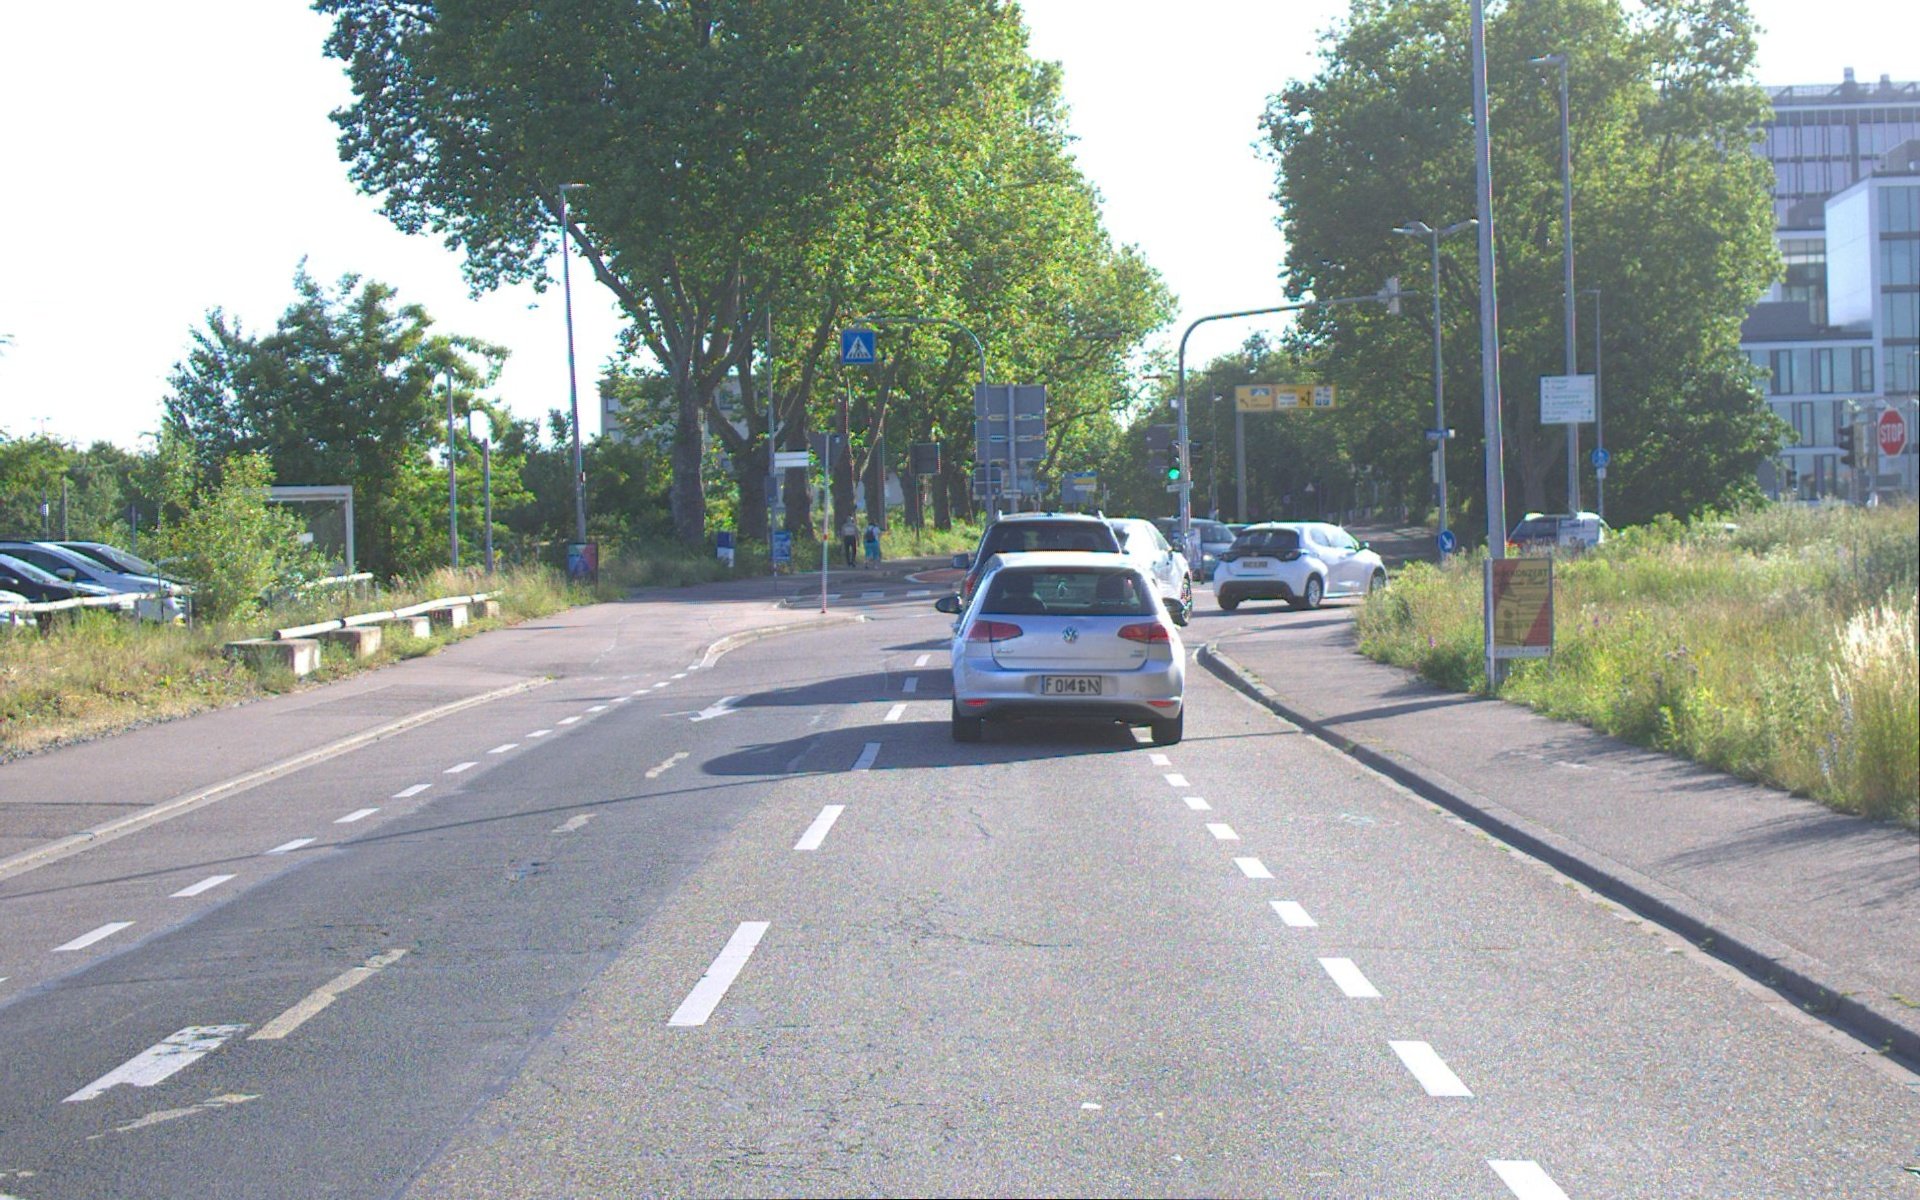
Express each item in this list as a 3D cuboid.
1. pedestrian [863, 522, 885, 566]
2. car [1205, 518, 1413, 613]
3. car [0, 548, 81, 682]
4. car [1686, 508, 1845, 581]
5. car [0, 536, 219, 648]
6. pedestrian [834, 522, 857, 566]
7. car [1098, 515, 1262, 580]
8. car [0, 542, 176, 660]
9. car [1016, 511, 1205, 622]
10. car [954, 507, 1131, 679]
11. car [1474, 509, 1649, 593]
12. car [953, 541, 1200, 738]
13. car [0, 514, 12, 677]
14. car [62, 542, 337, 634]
[{"bbox_3d":[-2.783,-1.821,111.408,0.678,1.410,0.684,0,1,1],"label":"pedestrian"},{"bbox_3d":[6.076,-0.617,59.517,1.902,1.590,3.992,0,1,34],"label":"car"},{"bbox_3d":[-13.104,0.178,41.235,4.594,1.552,2.000,0,1,0],"label":"car"},{"bbox_3d":[19.301,-1.342,82.263,2.168,1.678,3.991,0,1,39],"label":"car"},{"bbox_3d":[-13.138,-0.118,49.458,4.542,1.552,1.878,0,1,0],"label":"car"},{"bbox_3d":[-3.720,-1.813,111.566,0.678,1.410,0.684,0,1,1],"label":"pedestrian"},{"bbox_3d":[5.505,-1.320,86.255,1.994,1.590,3.999,-1,1,-37],"label":"car"},{"bbox_3d":[-12.912,0.005,46.649,4.088,1.552,1.878,0,1,0],"label":"car"},{"bbox_3d":[2.243,-0.509,49.979,1.915,1.524,4.405,0,1,14],"label":"car"},{"bbox_3d":[0.945,-0.117,37.790,1.819,1.762,4.629,0,1,2],"label":"car"},{"bbox_3d":[12.396,-1.024,70.691,2.167,1.678,3.993,0,1,33],"label":"car"},{"bbox_3d":[0.917,0.254,27.067,1.790,1.415,4.000,0,1,2],"label":"car"},{"bbox_3d":[-13.230,-0.021,38.160,4.845,1.828,2.000,0,1,0],"label":"car"},{"bbox_3d":[-13.406,-0.221,60.758,4.425,1.552,1.878,0,1,0],"label":"car"}]
